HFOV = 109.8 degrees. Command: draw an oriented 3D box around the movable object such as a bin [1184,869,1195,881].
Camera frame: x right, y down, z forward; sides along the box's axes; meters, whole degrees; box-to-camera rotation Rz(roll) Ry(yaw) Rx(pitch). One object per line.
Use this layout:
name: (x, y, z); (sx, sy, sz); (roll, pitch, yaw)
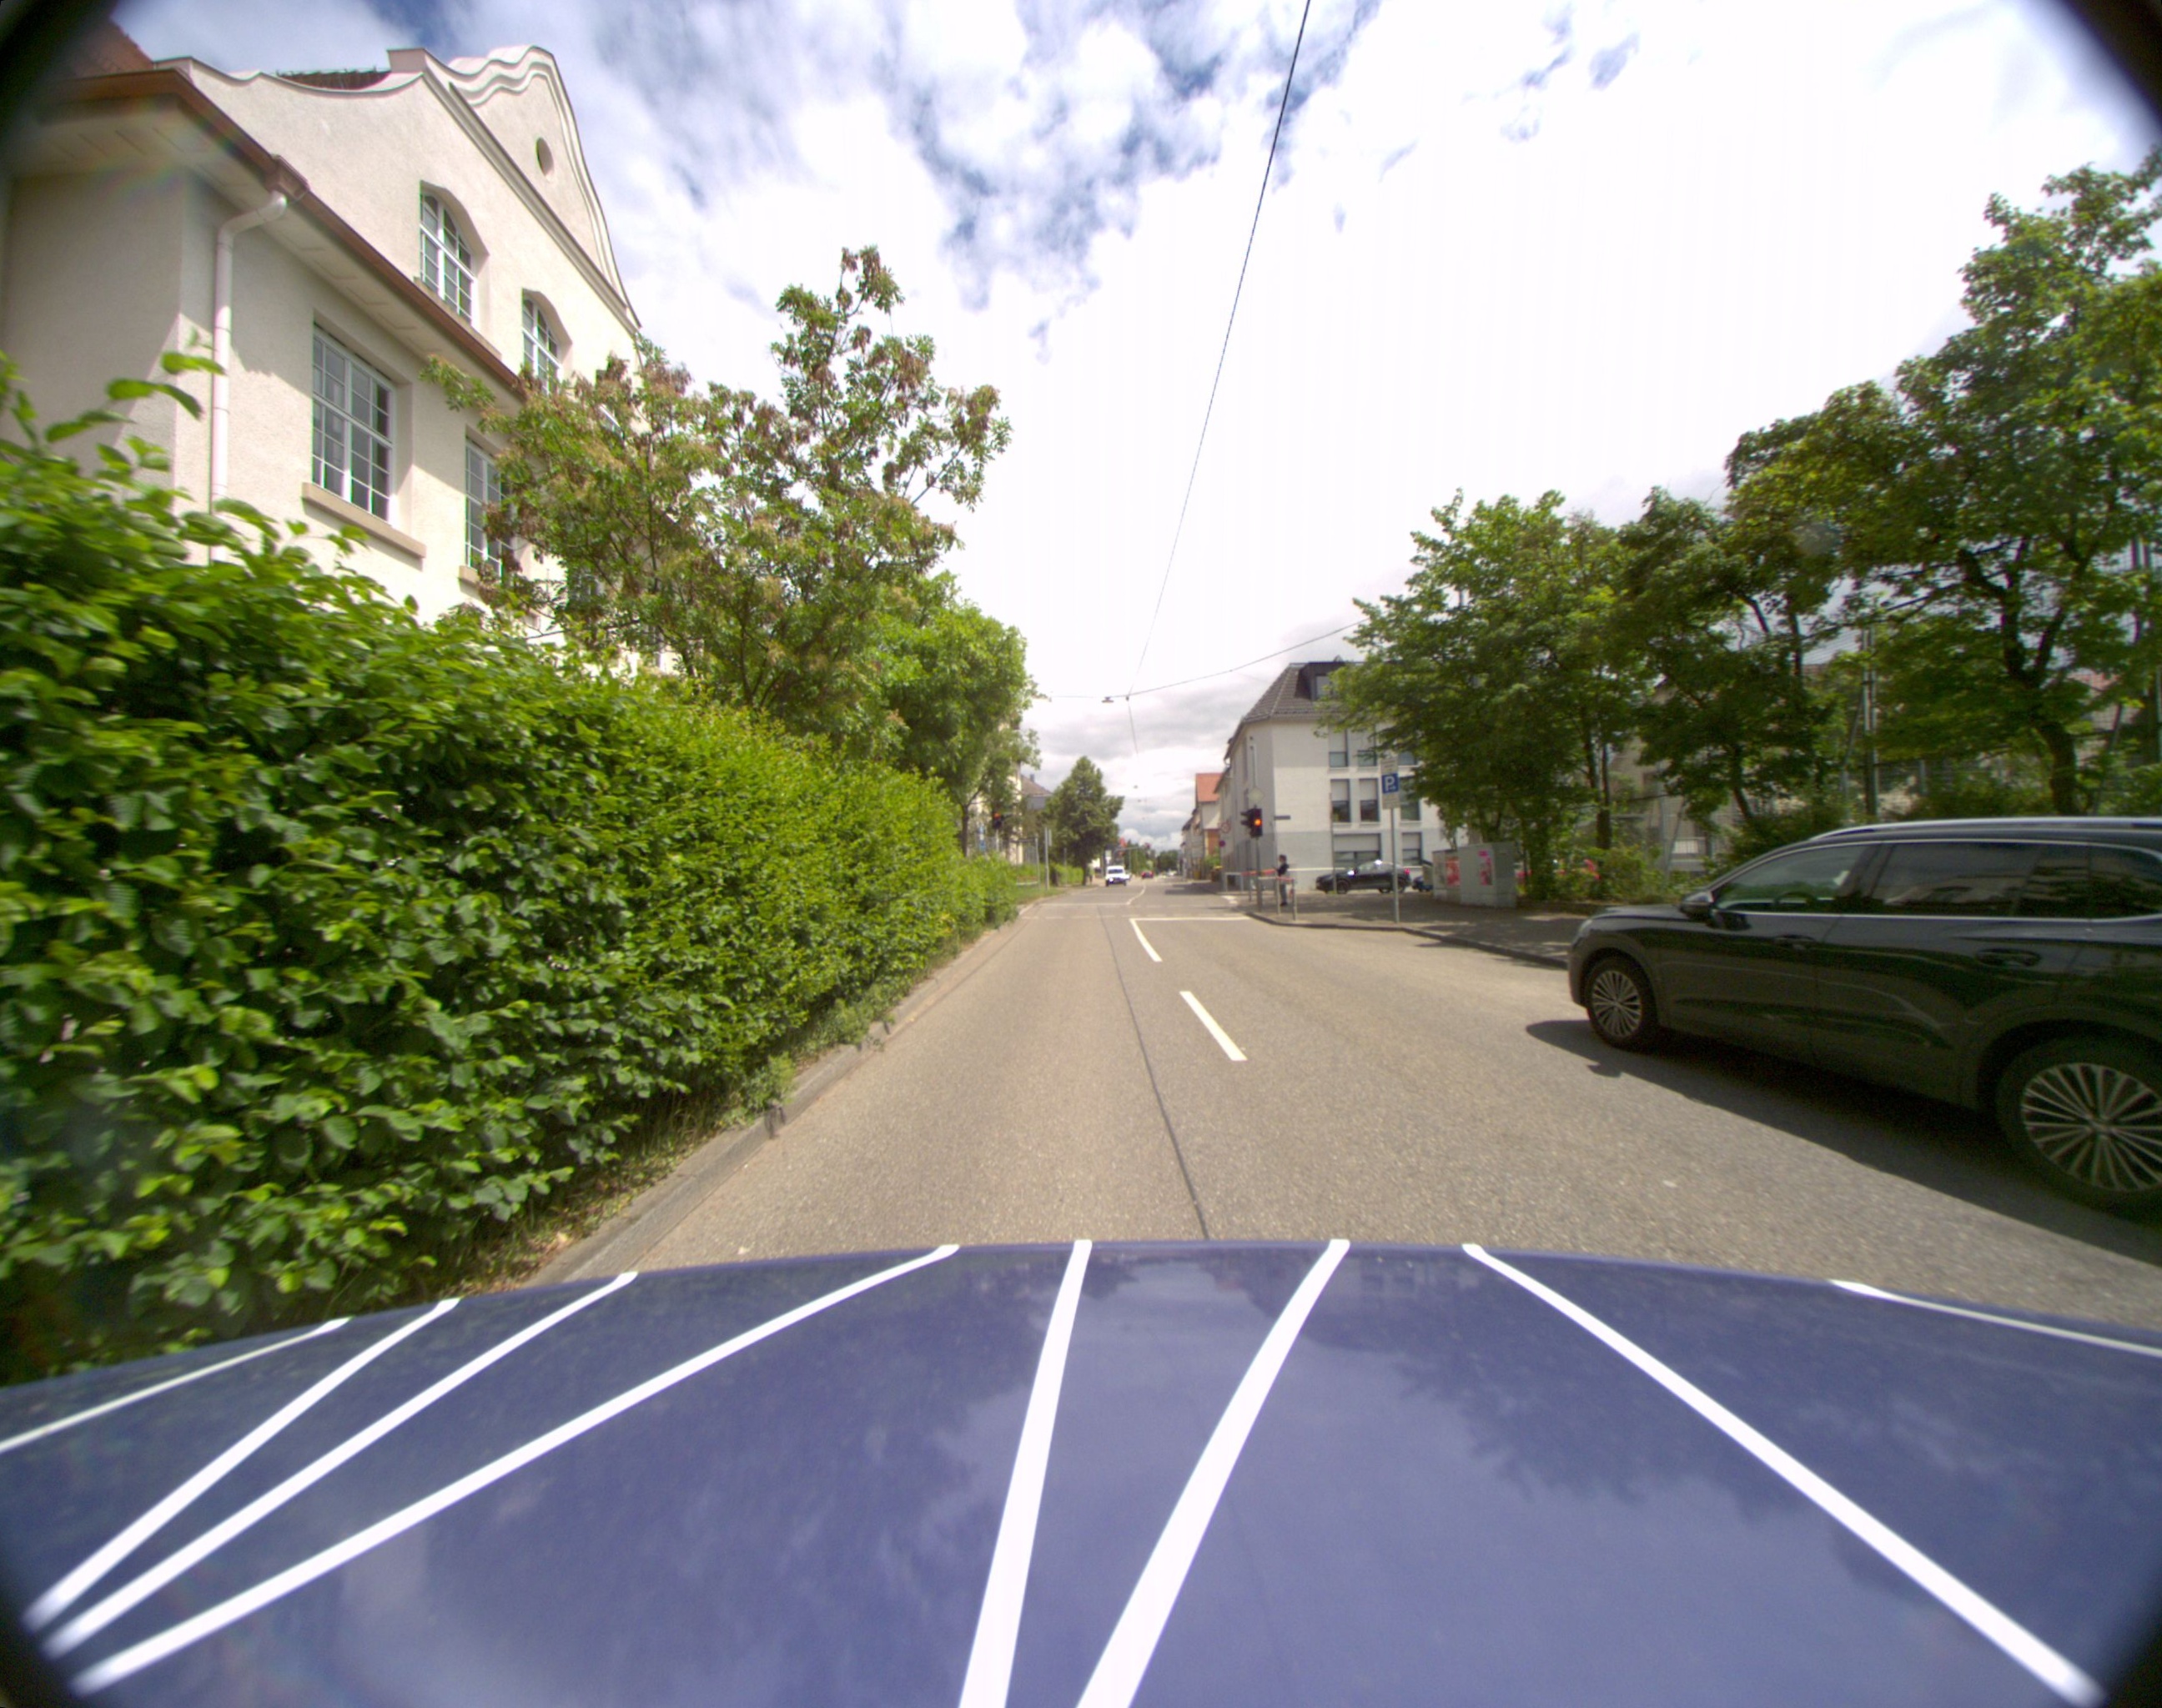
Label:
movable object such as a bin: (12.448, 2.372, 87.130); (0.767, 1.156, 0.801); (-16, 7, -6)

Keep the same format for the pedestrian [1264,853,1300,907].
pedestrian: (6.089, 0.775, 23.033); (0.774, 1.587, 0.670); (-2, -1, -35)

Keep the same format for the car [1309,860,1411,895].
car: (12.862, 1.126, 35.258); (3.997, 1.467, 1.859); (-2, -3, 0)

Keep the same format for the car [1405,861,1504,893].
car: (17.335, 1.091, 35.380); (3.791, 1.391, 1.603); (-1, -3, 2)

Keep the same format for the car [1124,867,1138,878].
car: (7.170, 2.675, 109.690); (1.794, 1.476, 4.003); (-3, -2, 6)

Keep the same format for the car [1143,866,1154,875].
car: (11.444, 2.829, 128.193); (1.794, 1.476, 4.003); (-3, -2, 6)

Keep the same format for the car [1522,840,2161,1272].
car: (4.838, 0.757, 4.316); (1.800, 1.600, 4.646); (-2, -1, -2)

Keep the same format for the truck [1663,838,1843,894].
truck: (25.832, 0.450, 29.338); (5.048, 2.023, 2.145); (-1, 0, 0)

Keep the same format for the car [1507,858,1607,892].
car: (22.120, 0.981, 35.375); (3.610, 1.463, 1.551); (-1, -4, -1)

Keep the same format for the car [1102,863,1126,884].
car: (2.958, 1.730, 67.196); (1.892, 1.717, 4.296); (-2, -1, 6)

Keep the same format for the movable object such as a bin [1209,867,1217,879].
movable object such as a bin: (12.044, 1.716, 69.203); (0.642, 1.068, 0.661); (-2, -1, 2)

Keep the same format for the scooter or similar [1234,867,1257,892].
scooter or similar: (8.551, 1.308, 39.498); (0.491, 1.254, 1.305); (-1, -1, -24)

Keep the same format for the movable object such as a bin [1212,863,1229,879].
movable object such as a bin: (12.996, 1.601, 70.617); (1.337, 1.437, 1.171); (-2, -1, 1)
